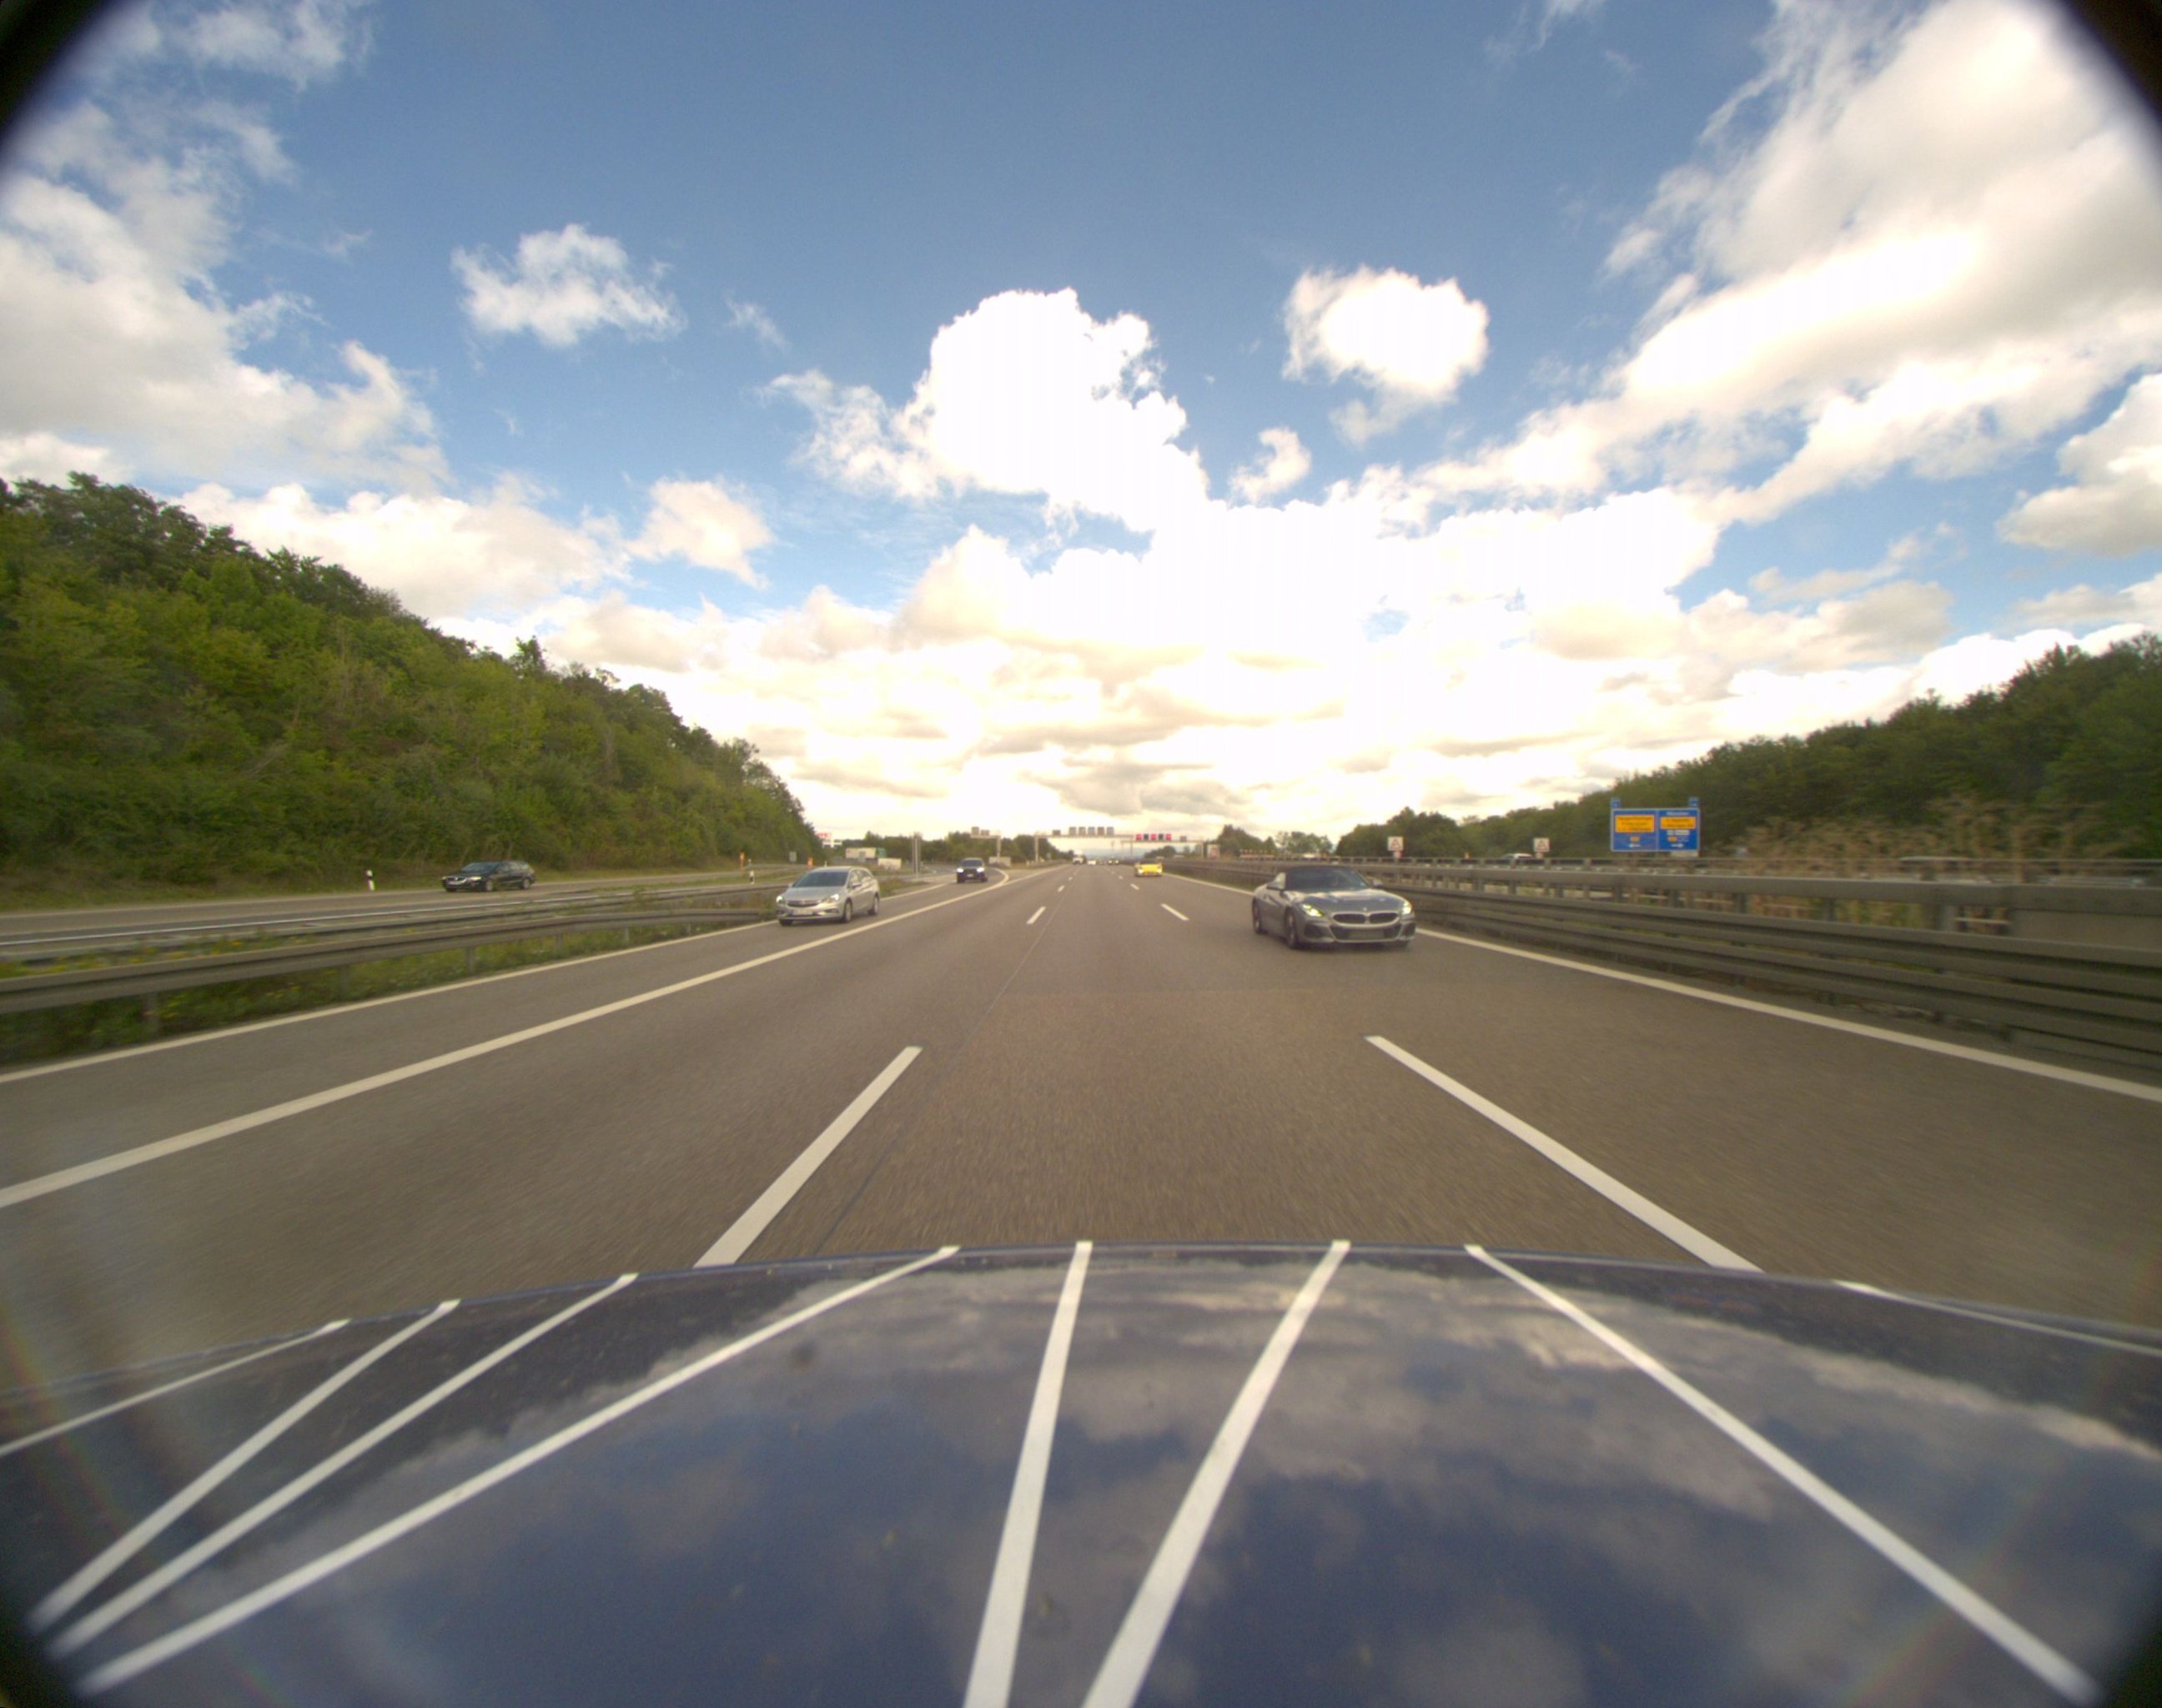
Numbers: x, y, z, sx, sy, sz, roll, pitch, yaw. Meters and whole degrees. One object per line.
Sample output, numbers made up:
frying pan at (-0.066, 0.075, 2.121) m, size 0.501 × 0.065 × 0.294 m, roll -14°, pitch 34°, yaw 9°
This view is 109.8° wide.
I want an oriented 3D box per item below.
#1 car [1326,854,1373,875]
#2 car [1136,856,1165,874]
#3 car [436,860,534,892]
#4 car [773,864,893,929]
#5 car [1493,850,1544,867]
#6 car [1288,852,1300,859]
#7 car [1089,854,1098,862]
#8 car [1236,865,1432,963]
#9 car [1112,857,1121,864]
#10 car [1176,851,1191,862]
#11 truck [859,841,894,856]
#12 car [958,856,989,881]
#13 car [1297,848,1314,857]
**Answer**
car at (17.746, 0.653, 50.436) m, size 1.647 × 1.307 × 4.247 m, roll 1°, pitch 0°, yaw 0°
car at (5.147, 0.793, 56.591) m, size 1.811 × 1.307 × 4.247 m, roll 1°, pitch 0°, yaw 0°
car at (-28.317, 1.012, 36.283) m, size 1.717 × 1.407 × 4.166 m, roll -1°, pitch 0°, yaw -7°
car at (-6.739, 1.087, 21.193) m, size 1.687 × 1.476 × 4.616 m, roll -1°, pitch 0°, yaw 2°
car at (34.755, 0.364, 60.456) m, size 1.647 × 1.307 × 4.247 m, roll 0°, pitch 0°, yaw 0°
car at (49.528, 0.284, 176.811) m, size 1.814 × 1.626 × 5.010 m, roll -1°, pitch 0°, yaw 6°
car at (2.523, 0.758, 150.446) m, size 1.737 × 1.608 × 4.000 m, roll -1°, pitch 0°, yaw 1°
car at (4.200, 0.911, 13.571) m, size 1.878 × 1.295 × 4.942 m, roll -1°, pitch 0°, yaw 0°
car at (7.032, 1.235, 151.465) m, size 1.593 × 1.307 × 3.978 m, roll 1°, pitch 0°, yaw 0°
car at (14.753, 0.342, 109.488) m, size 1.679 × 1.568 × 4.173 m, roll 0°, pitch 0°, yaw 0°
truck at (-55.734, -1.539, 207.077) m, size 2.976 × 3.775 × 13.424 m, roll -2°, pitch 0°, yaw -44°
car at (-7.696, 1.030, 54.651) m, size 1.877 × 1.626 × 4.857 m, roll -1°, pitch 0°, yaw -4°
car at (41.671, -0.314, 141.180) m, size 1.775 × 1.568 × 5.011 m, roll -1°, pitch 0°, yaw 0°
